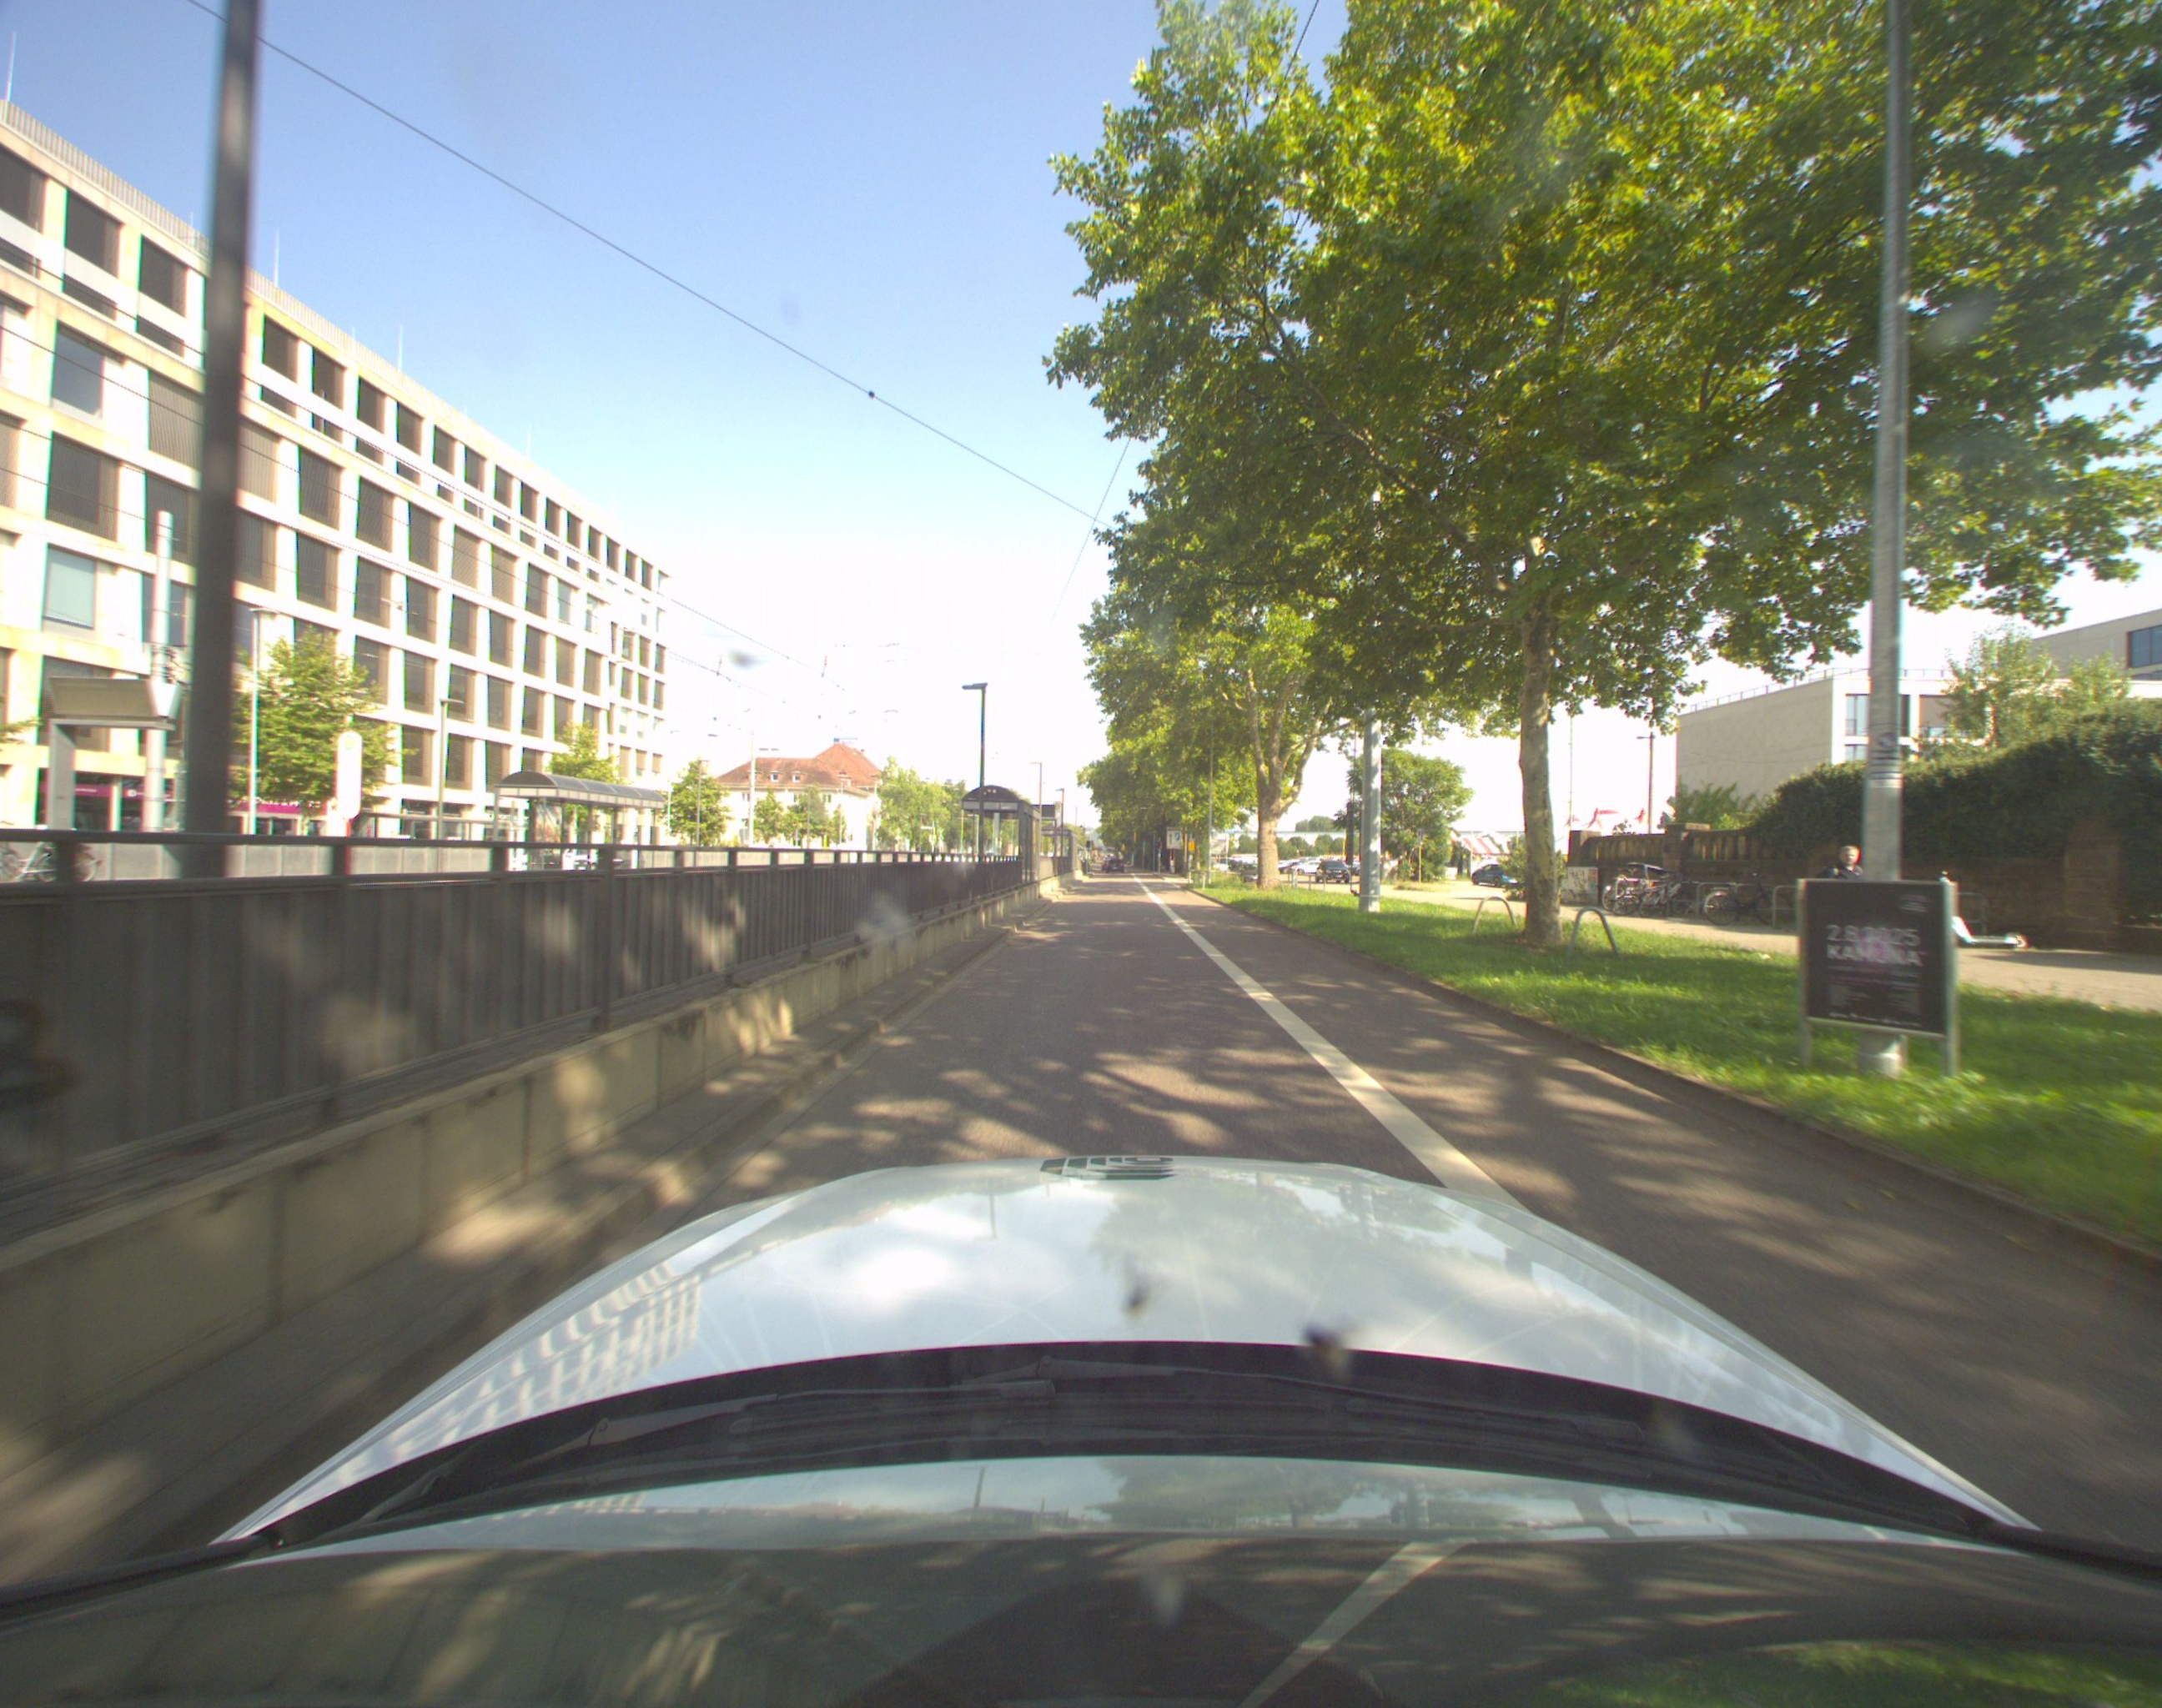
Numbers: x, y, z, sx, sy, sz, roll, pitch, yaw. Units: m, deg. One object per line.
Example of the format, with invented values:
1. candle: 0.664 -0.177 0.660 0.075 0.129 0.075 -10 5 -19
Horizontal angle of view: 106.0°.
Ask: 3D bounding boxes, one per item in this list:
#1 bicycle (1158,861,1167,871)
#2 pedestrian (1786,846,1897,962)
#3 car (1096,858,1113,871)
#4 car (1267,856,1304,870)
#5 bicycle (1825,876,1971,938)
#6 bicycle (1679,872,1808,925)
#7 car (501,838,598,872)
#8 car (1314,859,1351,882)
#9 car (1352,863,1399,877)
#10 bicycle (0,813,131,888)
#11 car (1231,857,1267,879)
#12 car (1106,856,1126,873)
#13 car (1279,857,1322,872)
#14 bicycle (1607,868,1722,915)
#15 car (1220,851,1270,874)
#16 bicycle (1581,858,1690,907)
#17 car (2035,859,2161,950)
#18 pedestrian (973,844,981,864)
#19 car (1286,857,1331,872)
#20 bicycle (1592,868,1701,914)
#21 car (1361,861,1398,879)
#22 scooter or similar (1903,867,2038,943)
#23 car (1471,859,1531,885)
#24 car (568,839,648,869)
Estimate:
1. bicycle: 8.559 1.231 85.650 0.608 1.022 2.400 1 0 -2
2. pedestrian: 10.381 0.657 11.146 0.781 1.515 0.787 1 0 1
3. car: 2.796 1.265 98.910 1.966 1.537 4.001 -2 0 1
4. car: 26.548 1.186 105.906 4.330 1.712 1.947 2 0 0
5. bicycle: 14.398 0.925 14.390 1.861 1.006 0.735 1 0 0
6. bicycle: 14.221 0.942 17.512 2.166 1.076 0.743 1 0 0
7. car: -23.926 0.028 36.821 1.705 1.446 4.008 0 0 0
8. car: 17.799 1.133 57.805 1.601 1.575 3.798 0 0 2
9. car: 31.142 1.683 86.145 4.370 1.464 1.950 1 0 5
10. bicycle: -16.520 -0.053 13.120 0.467 1.147 1.490 1 0 16
11. car: 11.679 0.927 56.739 1.721 1.448 4.553 0 0 2
12. car: 3.389 0.981 79.259 1.900 1.537 4.001 -1 0 1
13. car: 24.726 1.193 91.673 4.330 1.464 1.947 2 0 0
14. bicycle: 14.103 0.906 19.727 2.163 1.076 0.744 -1 -1 5
15. car: 14.074 0.729 70.081 4.084 1.918 1.850 0 0 4
16. bicycle: 14.961 0.762 22.026 2.236 1.277 0.999 -1 -1 1
17. car: 20.071 0.884 14.222 4.891 1.479 2.181 1 0 -8
18. pedestrian: -9.661 -0.027 75.915 0.707 1.821 0.771 0 -2 -8
19. car: 24.715 1.124 88.394 4.330 1.464 1.947 2 0 0
20. bicycle: 14.223 0.928 20.540 2.163 1.076 0.744 -1 -1 5
21. car: 25.675 1.360 70.163 1.807 1.395 4.118 1 0 1
22. scooter or similar: 14.394 0.819 13.201 1.498 1.191 0.539 0 -1 5
23. car: 27.868 1.166 54.181 1.700 1.575 3.952 2 0 -4
24. car: -24.067 0.017 41.575 1.705 1.446 4.008 0 0 0
